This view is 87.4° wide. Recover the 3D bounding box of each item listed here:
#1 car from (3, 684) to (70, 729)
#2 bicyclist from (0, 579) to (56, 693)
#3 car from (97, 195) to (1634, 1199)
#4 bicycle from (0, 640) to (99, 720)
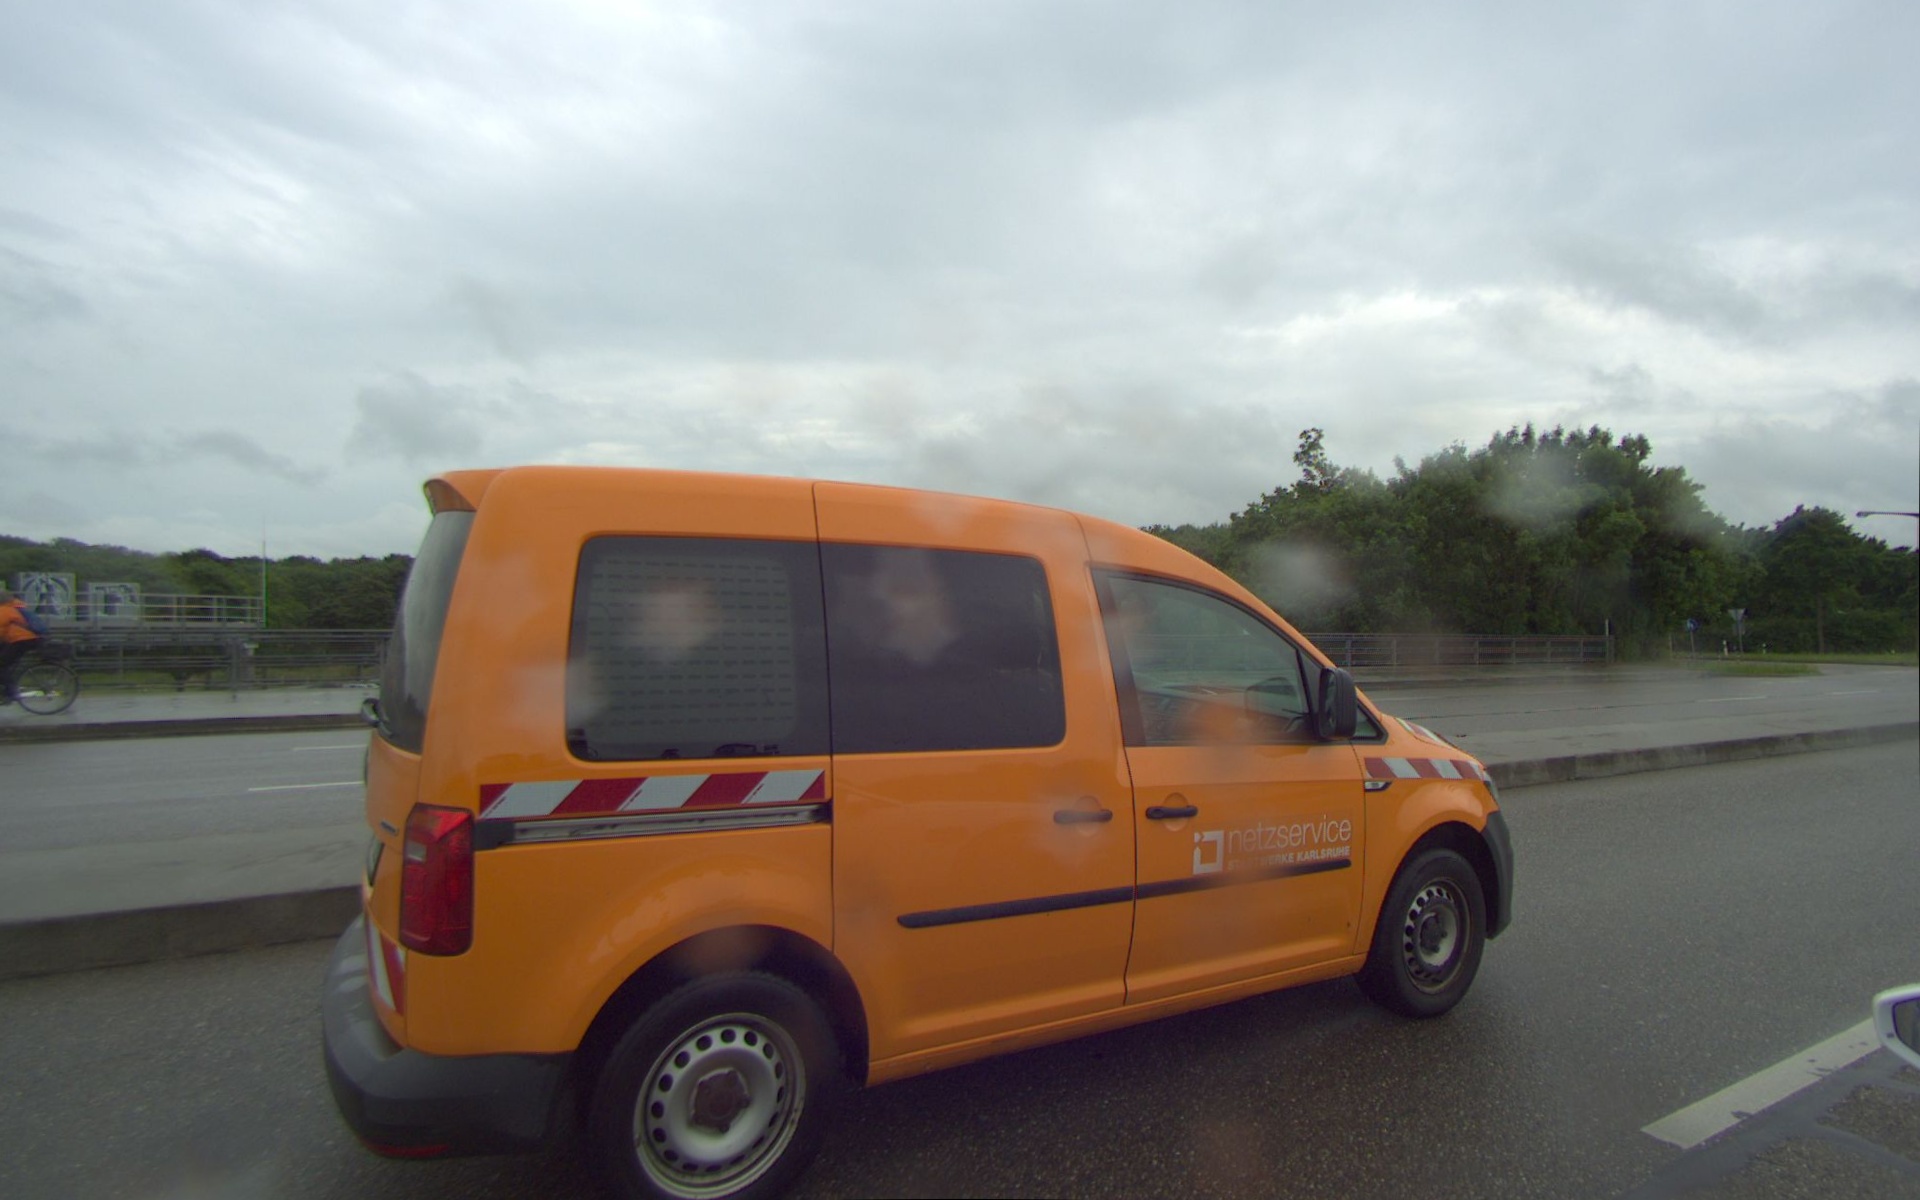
[{"bbox_3d":[-69.848,7.992,75.964,5.717,2.808,2.726,0,0,37],"label":"car"},{"bbox_3d":[-13.108,0.479,13.715,0.991,1.520,0.616,1,1,-30],"label":"bicyclist"},{"bbox_3d":[0.239,0.440,3.630,4.793,2.045,1.726,2,-1,-30],"label":"car"},{"bbox_3d":[-13.133,1.084,13.728,1.977,1.047,0.606,2,1,-31],"label":"bicycle"}]
